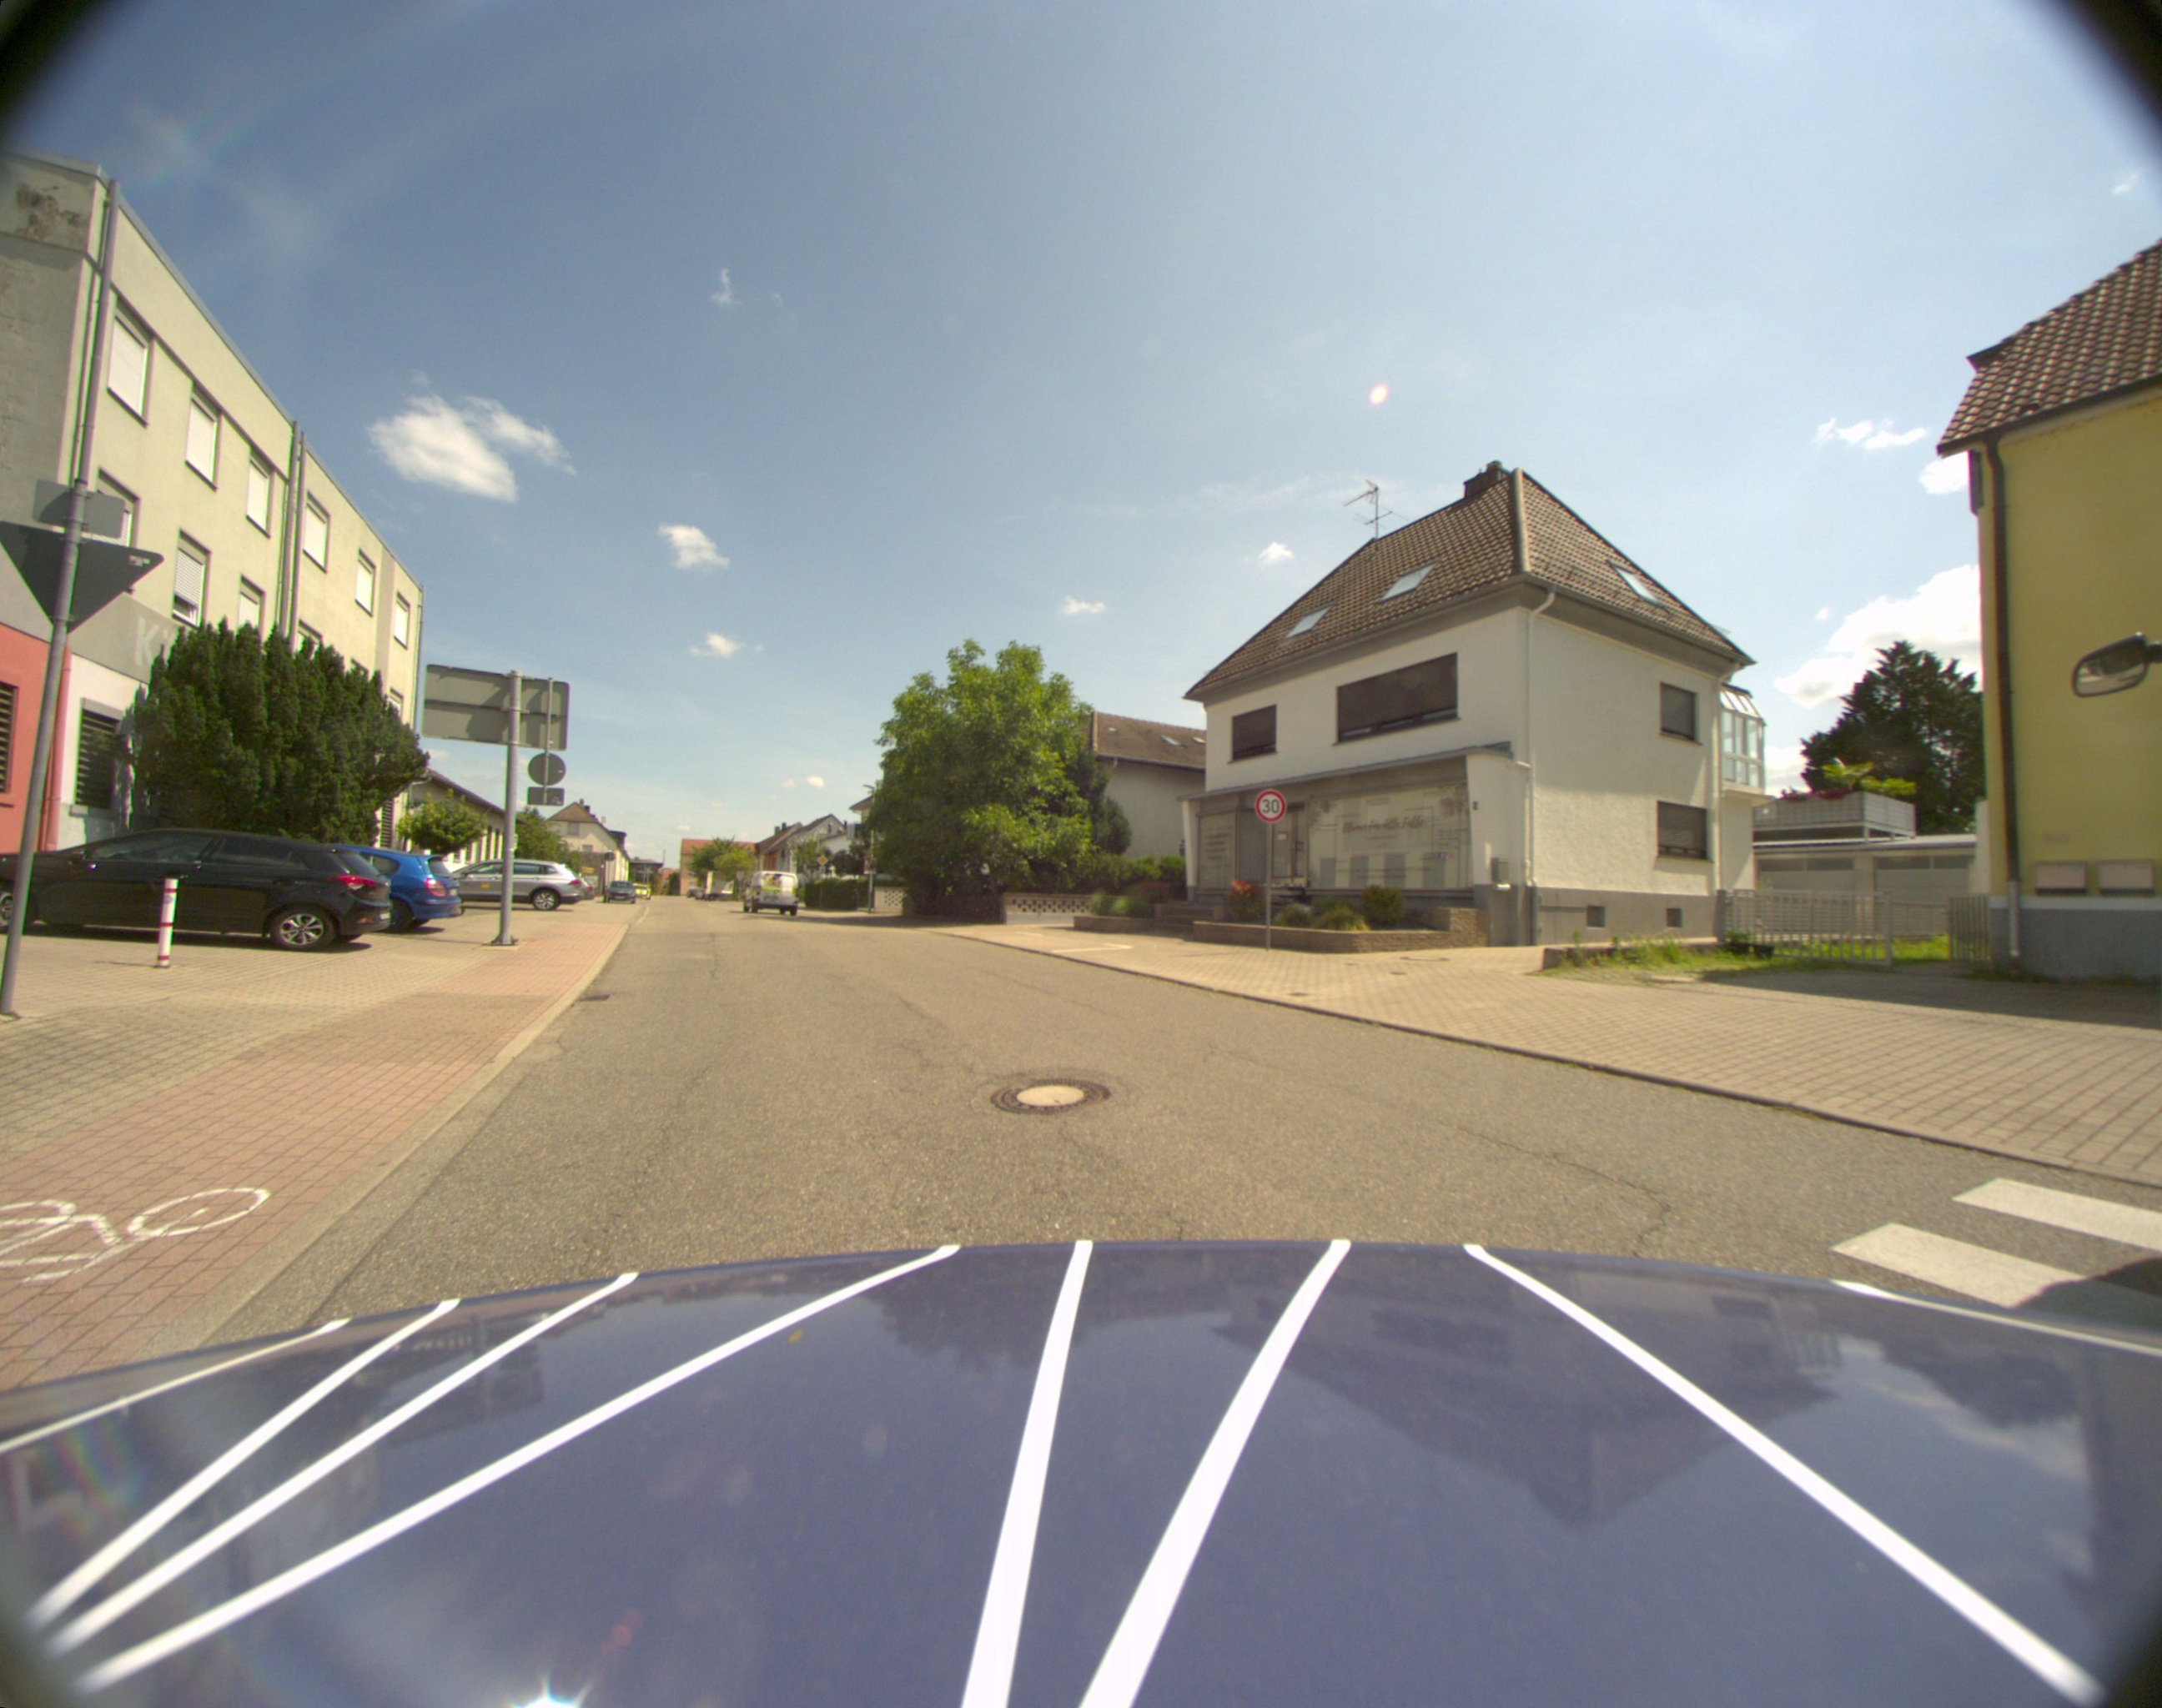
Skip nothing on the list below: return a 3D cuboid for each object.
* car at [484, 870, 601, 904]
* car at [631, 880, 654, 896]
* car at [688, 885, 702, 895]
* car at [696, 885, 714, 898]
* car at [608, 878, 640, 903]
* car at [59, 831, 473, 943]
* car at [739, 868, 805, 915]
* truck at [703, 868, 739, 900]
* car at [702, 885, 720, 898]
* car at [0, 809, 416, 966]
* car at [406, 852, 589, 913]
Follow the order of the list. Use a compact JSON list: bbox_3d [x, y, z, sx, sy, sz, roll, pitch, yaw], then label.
[{"bbox_3d":[-26.960,1.702,38.261,4.550,1.444,1.914,5,-4,-29],"label":"car"},{"bbox_3d":[-43.503,3.354,75.462,1.725,1.388,4.207,7,-6,-29],"label":"car"},{"bbox_3d":[-64.602,6.075,127.216,1.725,1.490,4.206,6,-5,-30],"label":"car"},{"bbox_3d":[-49.839,4.969,100.661,1.725,1.490,4.206,6,-5,-30],"label":"car"},{"bbox_3d":[-29.583,2.355,49.235,1.636,1.479,4.131,4,-4,-30],"label":"car"},{"bbox_3d":[-13.296,0.597,12.871,4.346,1.430,1.775,7,-3,-30],"label":"car"},{"bbox_3d":[-13.674,1.653,33.472,1.822,1.842,4.549,7,-5,-32],"label":"car"},{"bbox_3d":[-39.509,3.301,83.287,2.451,3.224,7.021,7,-6,-31],"label":"truck"},{"bbox_3d":[-46.428,4.728,95.308,1.725,1.490,4.206,6,-5,-30],"label":"car"},{"bbox_3d":[-11.684,0.472,10.039,3.917,1.480,1.805,10,-6,-31],"label":"car"},{"bbox_3d":[-18.970,0.993,25.011,4.477,1.686,1.918,5,-4,-31],"label":"car"}]
